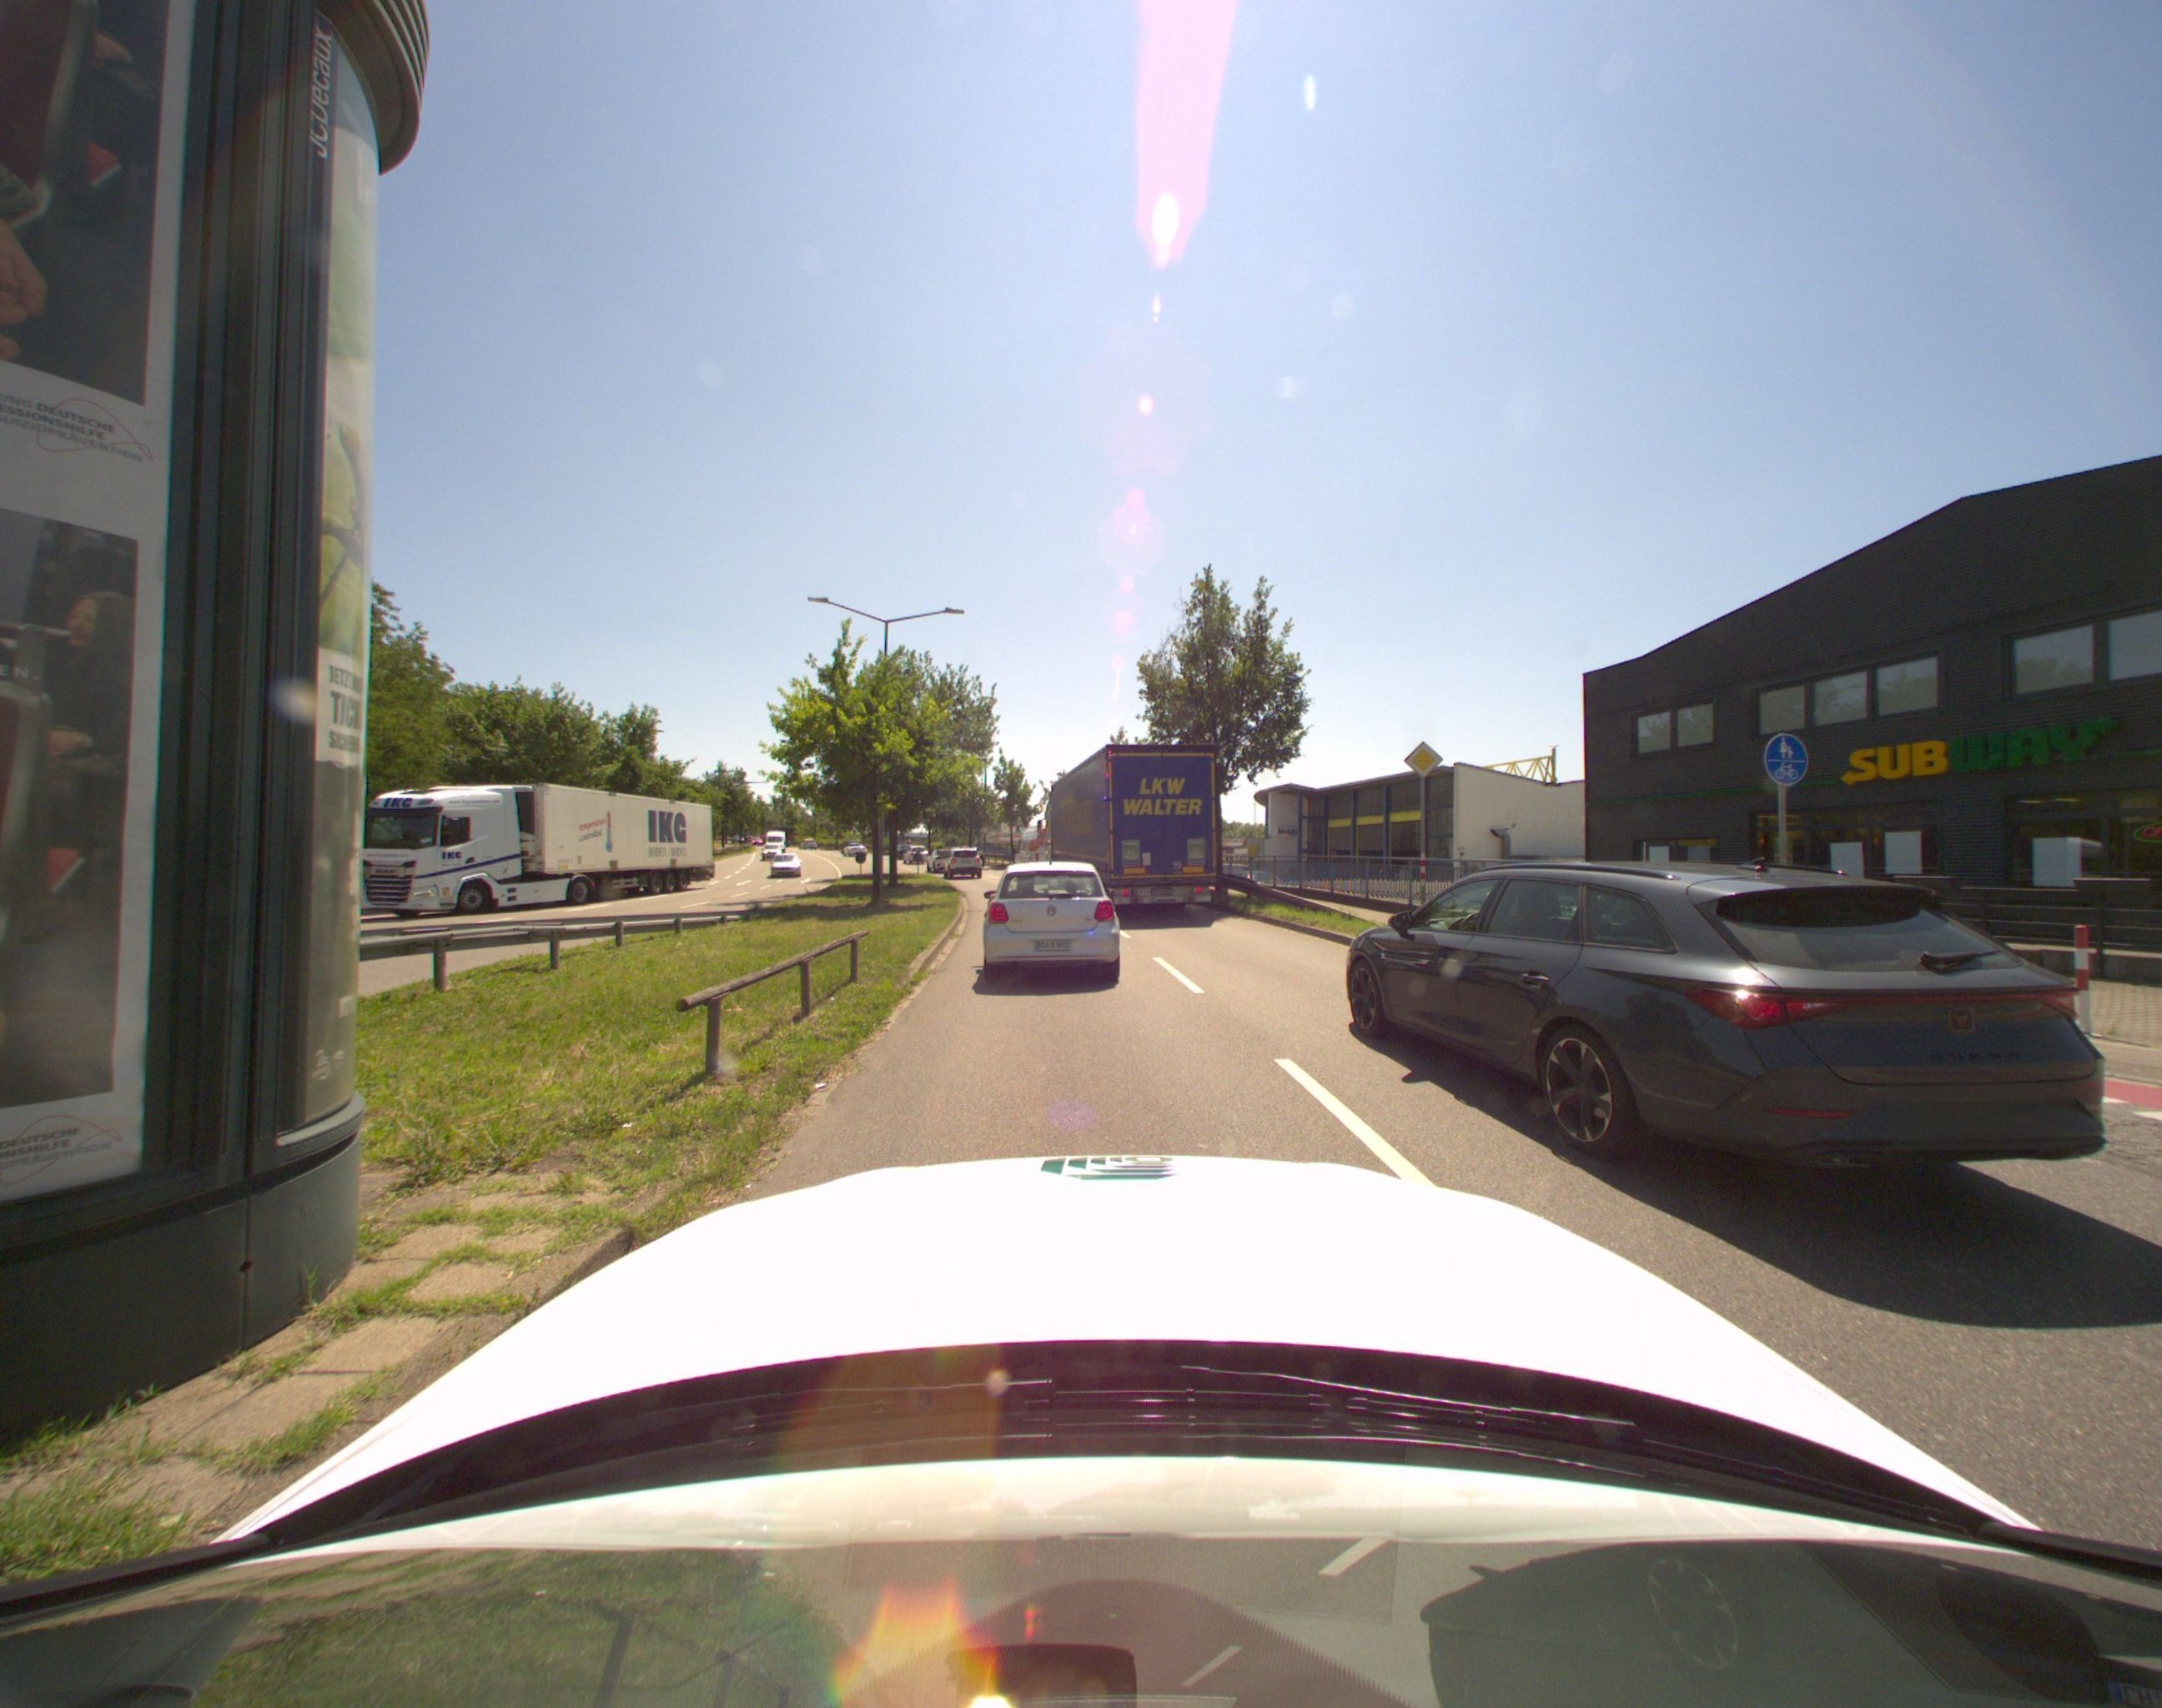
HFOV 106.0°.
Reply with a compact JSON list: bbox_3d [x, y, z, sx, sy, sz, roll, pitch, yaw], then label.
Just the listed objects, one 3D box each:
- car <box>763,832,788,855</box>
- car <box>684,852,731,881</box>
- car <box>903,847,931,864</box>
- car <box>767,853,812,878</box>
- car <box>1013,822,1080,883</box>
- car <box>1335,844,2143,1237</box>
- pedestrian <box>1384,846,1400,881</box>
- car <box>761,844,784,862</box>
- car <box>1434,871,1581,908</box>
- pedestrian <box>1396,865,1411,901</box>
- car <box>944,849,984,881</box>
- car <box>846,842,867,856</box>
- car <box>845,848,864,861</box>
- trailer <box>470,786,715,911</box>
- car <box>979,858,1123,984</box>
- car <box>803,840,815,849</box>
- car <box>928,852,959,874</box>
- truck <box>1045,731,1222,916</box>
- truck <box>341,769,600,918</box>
[{"bbox_3d":[-34.735,-1.216,92.681,2.098,2.500,5.779,-2,1,-15],"label":"car"},{"bbox_3d":[-21.570,0.706,47.170,1.490,1.633,4.455,0,0,-12],"label":"car"},{"bbox_3d":[-13.510,0.126,66.930,1.614,1.360,3.636,0,0,-22],"label":"car"},{"bbox_3d":[-17.650,0.684,49.448,1.633,1.403,4.210,-2,0,-7],"label":"car"},{"bbox_3d":[-1.936,-0.133,42.457,2.179,2.900,6.326,0,1,-15],"label":"car"},{"bbox_3d":[3.189,0.712,5.214,1.601,1.456,4.230,0,-1,-3],"label":"car"},{"bbox_3d":[15.151,0.478,39.716,0.521,1.703,0.486,0,-1,-11],"label":"pedestrian"},{"bbox_3d":[-28.375,-0.033,75.020,1.638,1.567,4.049,-2,0,-17],"label":"car"},{"bbox_3d":[16.855,1.361,32.358,5.019,1.358,2.012,-1,-1,27],"label":"car"},{"bbox_3d":[15.472,1.364,39.102,0.426,1.703,0.587,0,-1,-12],"label":"pedestrian"},{"bbox_3d":[-6.601,0.596,45.566,1.905,1.718,4.205,0,-1,-12],"label":"car"},{"bbox_3d":[-23.882,-0.549,86.541,1.673,1.465,3.552,0,-1,-24],"label":"car"},{"bbox_3d":[-24.040,0.044,86.499,1.463,1.314,3.609,0,-1,-24],"label":"car"},{"bbox_3d":[-18.739,-0.295,32.849,3.006,4.049,12.686,-1,1,-4],"label":"trailer"},{"bbox_3d":[-0.344,0.784,11.124,1.641,1.439,3.536,0,-1,0],"label":"car"},{"bbox_3d":[-37.985,-1.331,113.792,1.328,1.139,2.970,0,-1,-25],"label":"car"},{"bbox_3d":[-8.932,0.568,52.679,1.498,1.360,3.641,0,0,-18],"label":"car"},{"bbox_3d":[0.868,-0.731,26.784,2.830,4.198,16.434,0,0,-7],"label":"truck"},{"bbox_3d":[-18.540,-0.249,25.338,2.527,4.022,6.289,-1,-1,12],"label":"truck"}]
